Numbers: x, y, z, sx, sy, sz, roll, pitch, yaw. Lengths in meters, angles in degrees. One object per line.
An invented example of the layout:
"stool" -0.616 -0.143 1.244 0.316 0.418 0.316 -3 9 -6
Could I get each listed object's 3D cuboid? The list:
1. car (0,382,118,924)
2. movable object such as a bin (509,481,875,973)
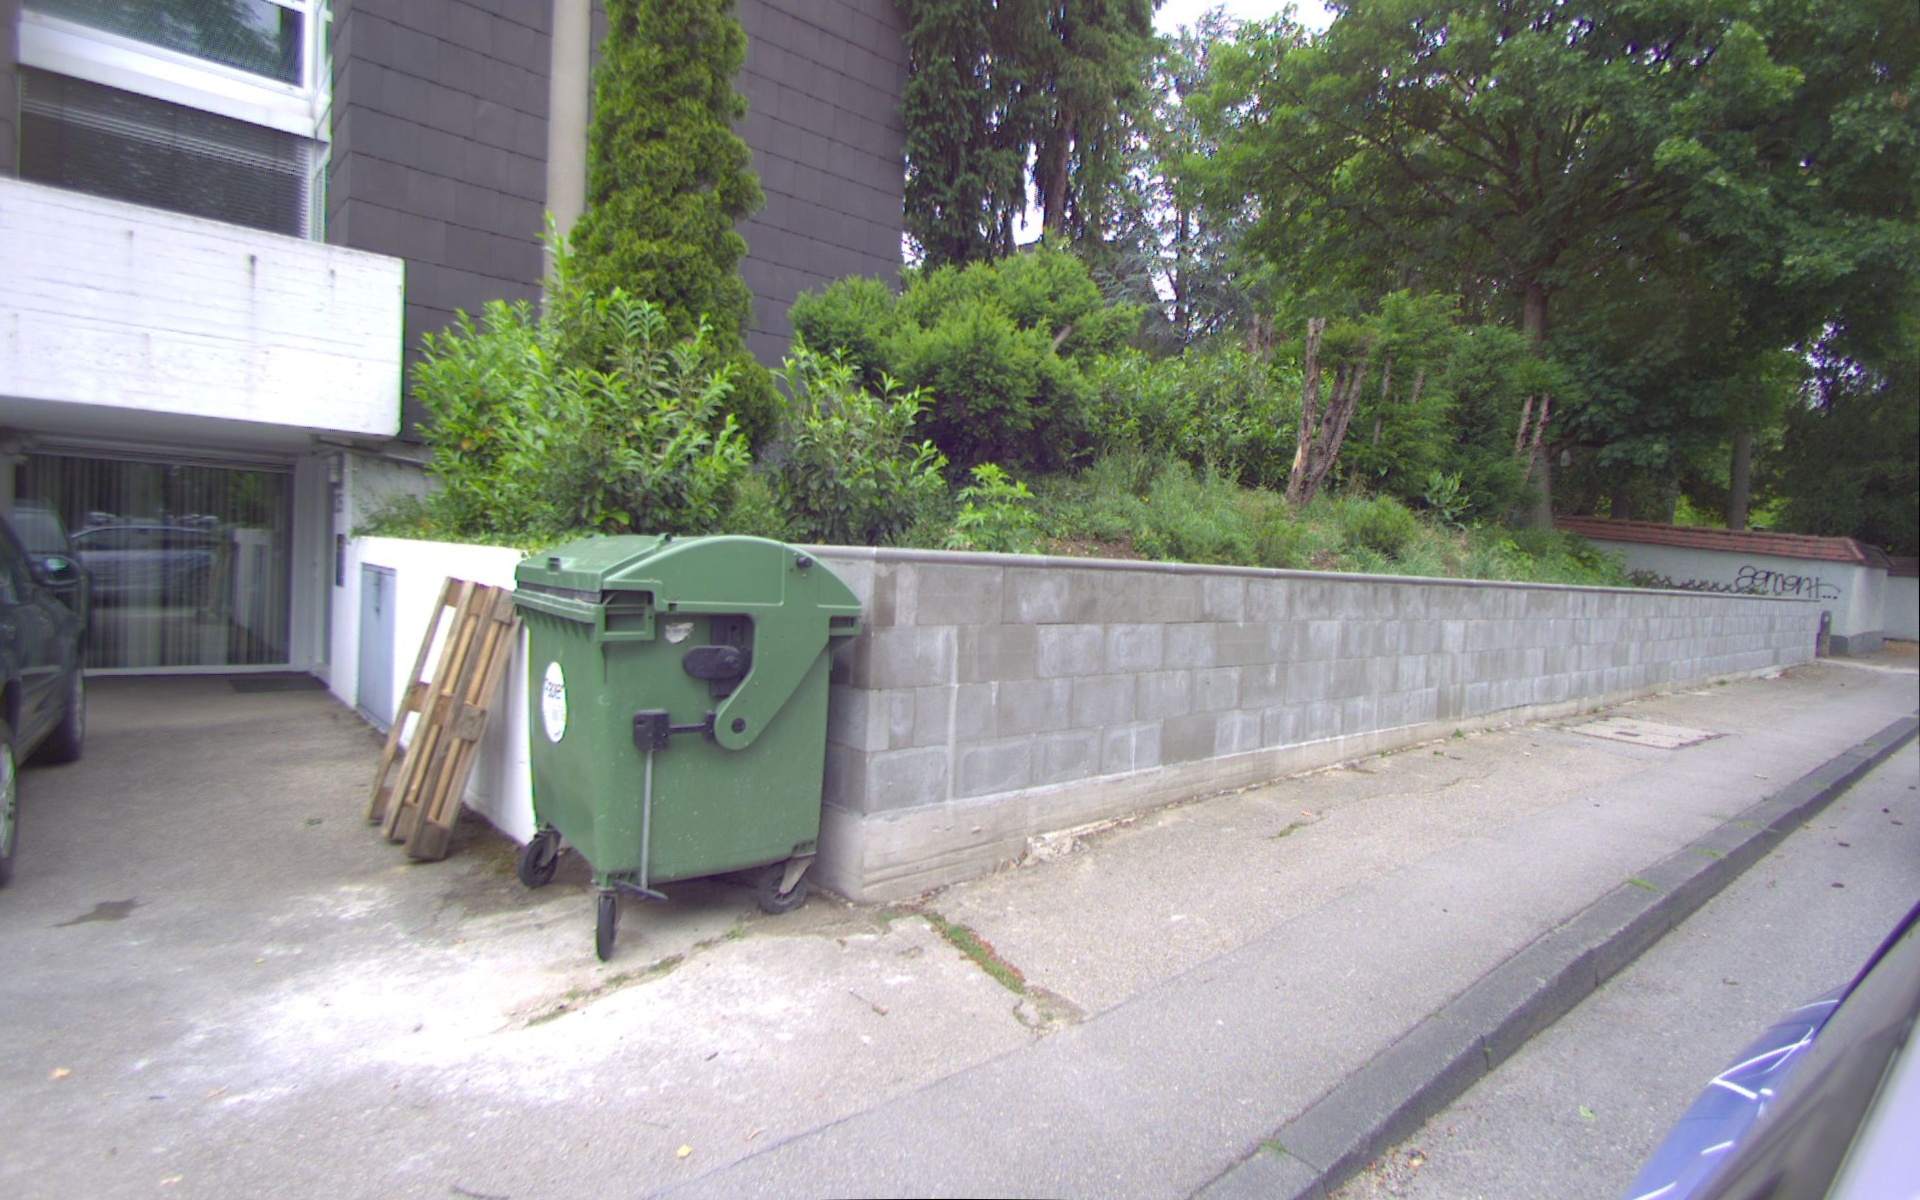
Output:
"car" -4.987 0.078 4.389 1.798 1.771 3.987 0 3 -36
"movable object such as a bin" -1.052 0.377 3.903 1.014 1.549 1.037 0 2 -39
